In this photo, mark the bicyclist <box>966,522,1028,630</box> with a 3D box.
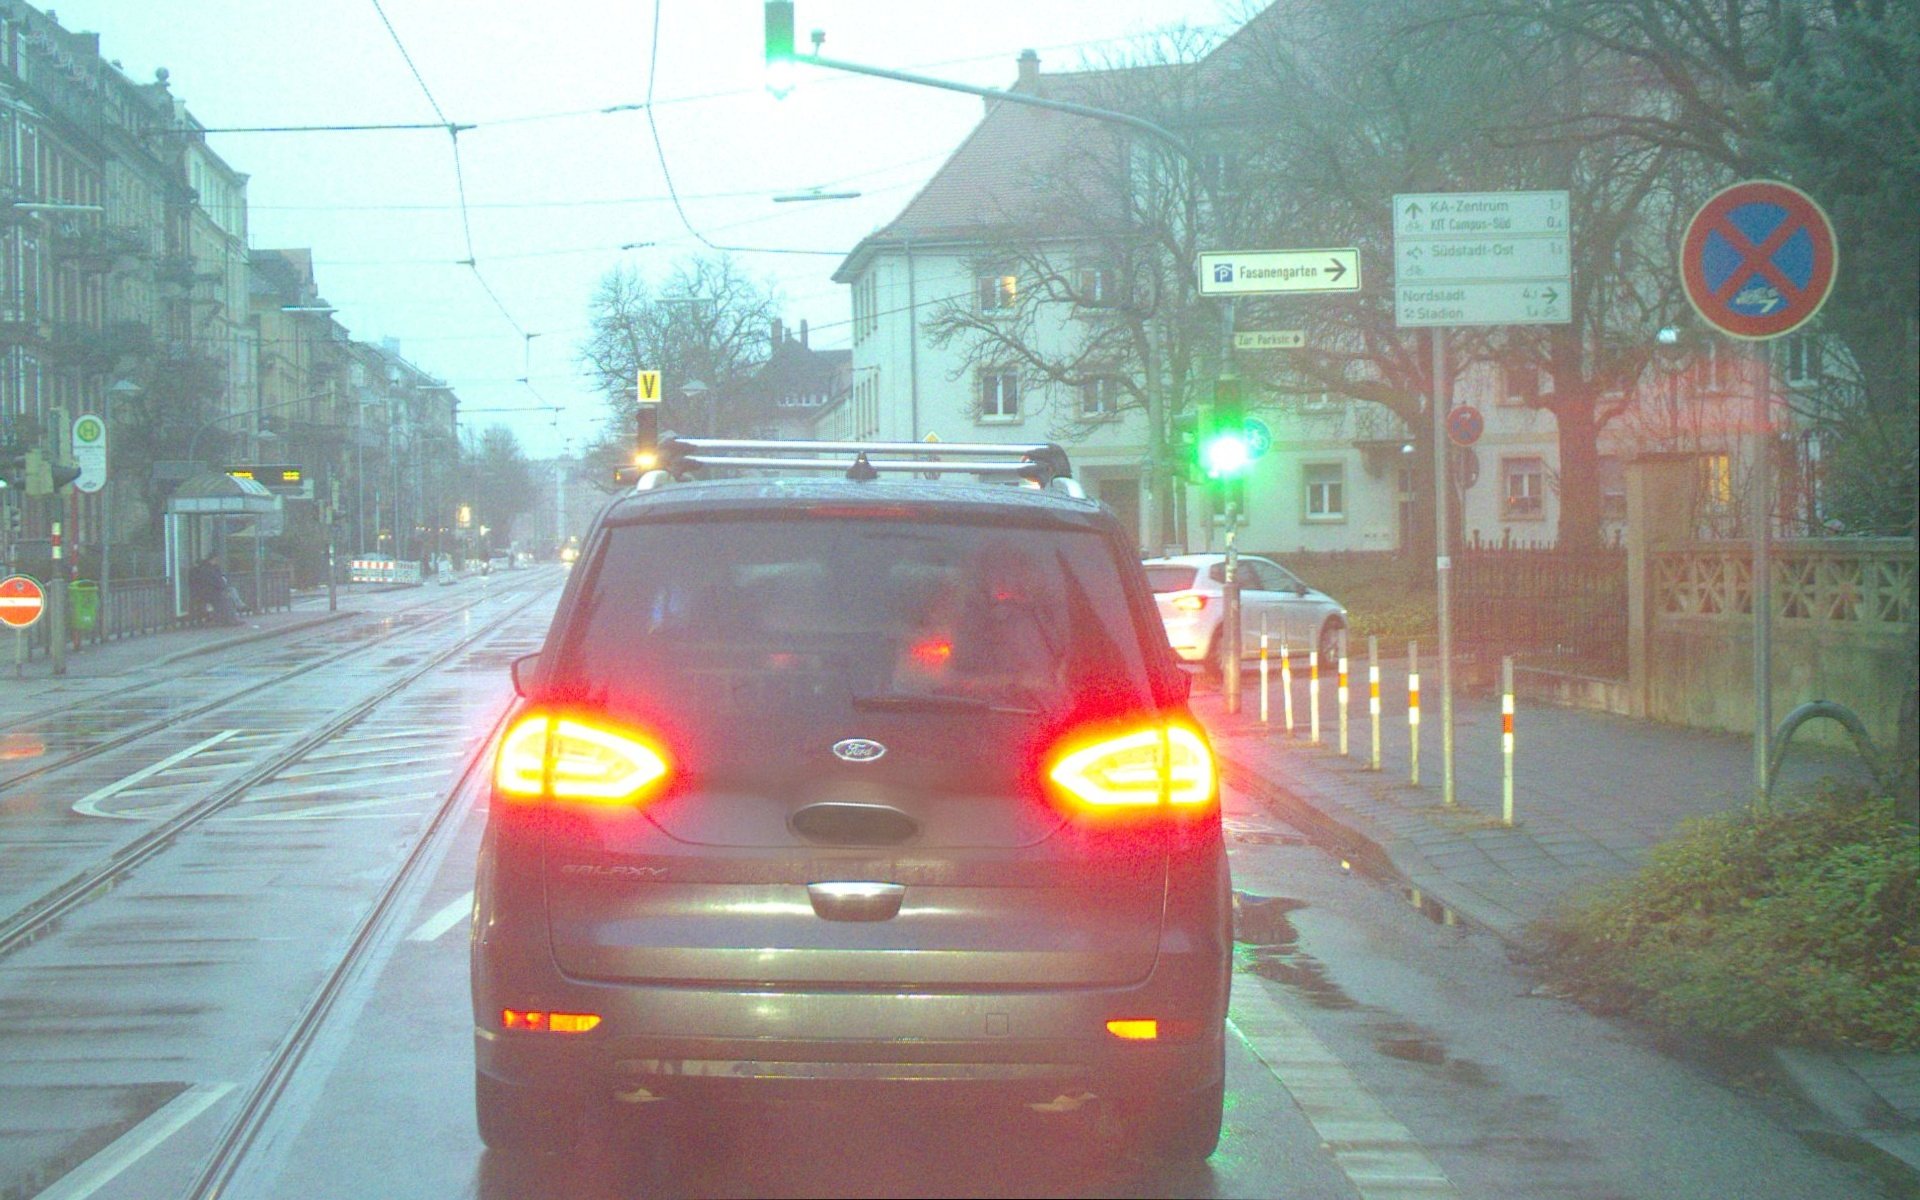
[{"bbox_3d":[0.582,-0.377,54.231,0.716,1.657,1.057,3,0,-9],"label":"bicyclist"}]

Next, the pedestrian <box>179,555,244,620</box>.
[{"bbox_3d":[-13.909,-0.235,63.898,1.047,1.196,0.885,0,0,-4],"label":"pedestrian"}]

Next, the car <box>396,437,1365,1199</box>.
[{"bbox_3d":[-0.301,0.525,9.874,2.103,1.810,4.661,1,1,-3],"label":"car"}]

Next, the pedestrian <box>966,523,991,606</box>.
[{"bbox_3d":[0.440,-0.851,82.720,0.596,2.007,0.631,0,0,-1],"label":"pedestrian"}]

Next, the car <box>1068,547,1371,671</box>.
[{"bbox_3d":[3.146,0.077,41.030,1.668,1.371,3.991,0,1,38],"label":"car"}]

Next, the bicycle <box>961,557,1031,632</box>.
[{"bbox_3d":[0.561,-0.097,54.296,0.716,1.108,1.942,3,1,-10],"label":"bicycle"}]
